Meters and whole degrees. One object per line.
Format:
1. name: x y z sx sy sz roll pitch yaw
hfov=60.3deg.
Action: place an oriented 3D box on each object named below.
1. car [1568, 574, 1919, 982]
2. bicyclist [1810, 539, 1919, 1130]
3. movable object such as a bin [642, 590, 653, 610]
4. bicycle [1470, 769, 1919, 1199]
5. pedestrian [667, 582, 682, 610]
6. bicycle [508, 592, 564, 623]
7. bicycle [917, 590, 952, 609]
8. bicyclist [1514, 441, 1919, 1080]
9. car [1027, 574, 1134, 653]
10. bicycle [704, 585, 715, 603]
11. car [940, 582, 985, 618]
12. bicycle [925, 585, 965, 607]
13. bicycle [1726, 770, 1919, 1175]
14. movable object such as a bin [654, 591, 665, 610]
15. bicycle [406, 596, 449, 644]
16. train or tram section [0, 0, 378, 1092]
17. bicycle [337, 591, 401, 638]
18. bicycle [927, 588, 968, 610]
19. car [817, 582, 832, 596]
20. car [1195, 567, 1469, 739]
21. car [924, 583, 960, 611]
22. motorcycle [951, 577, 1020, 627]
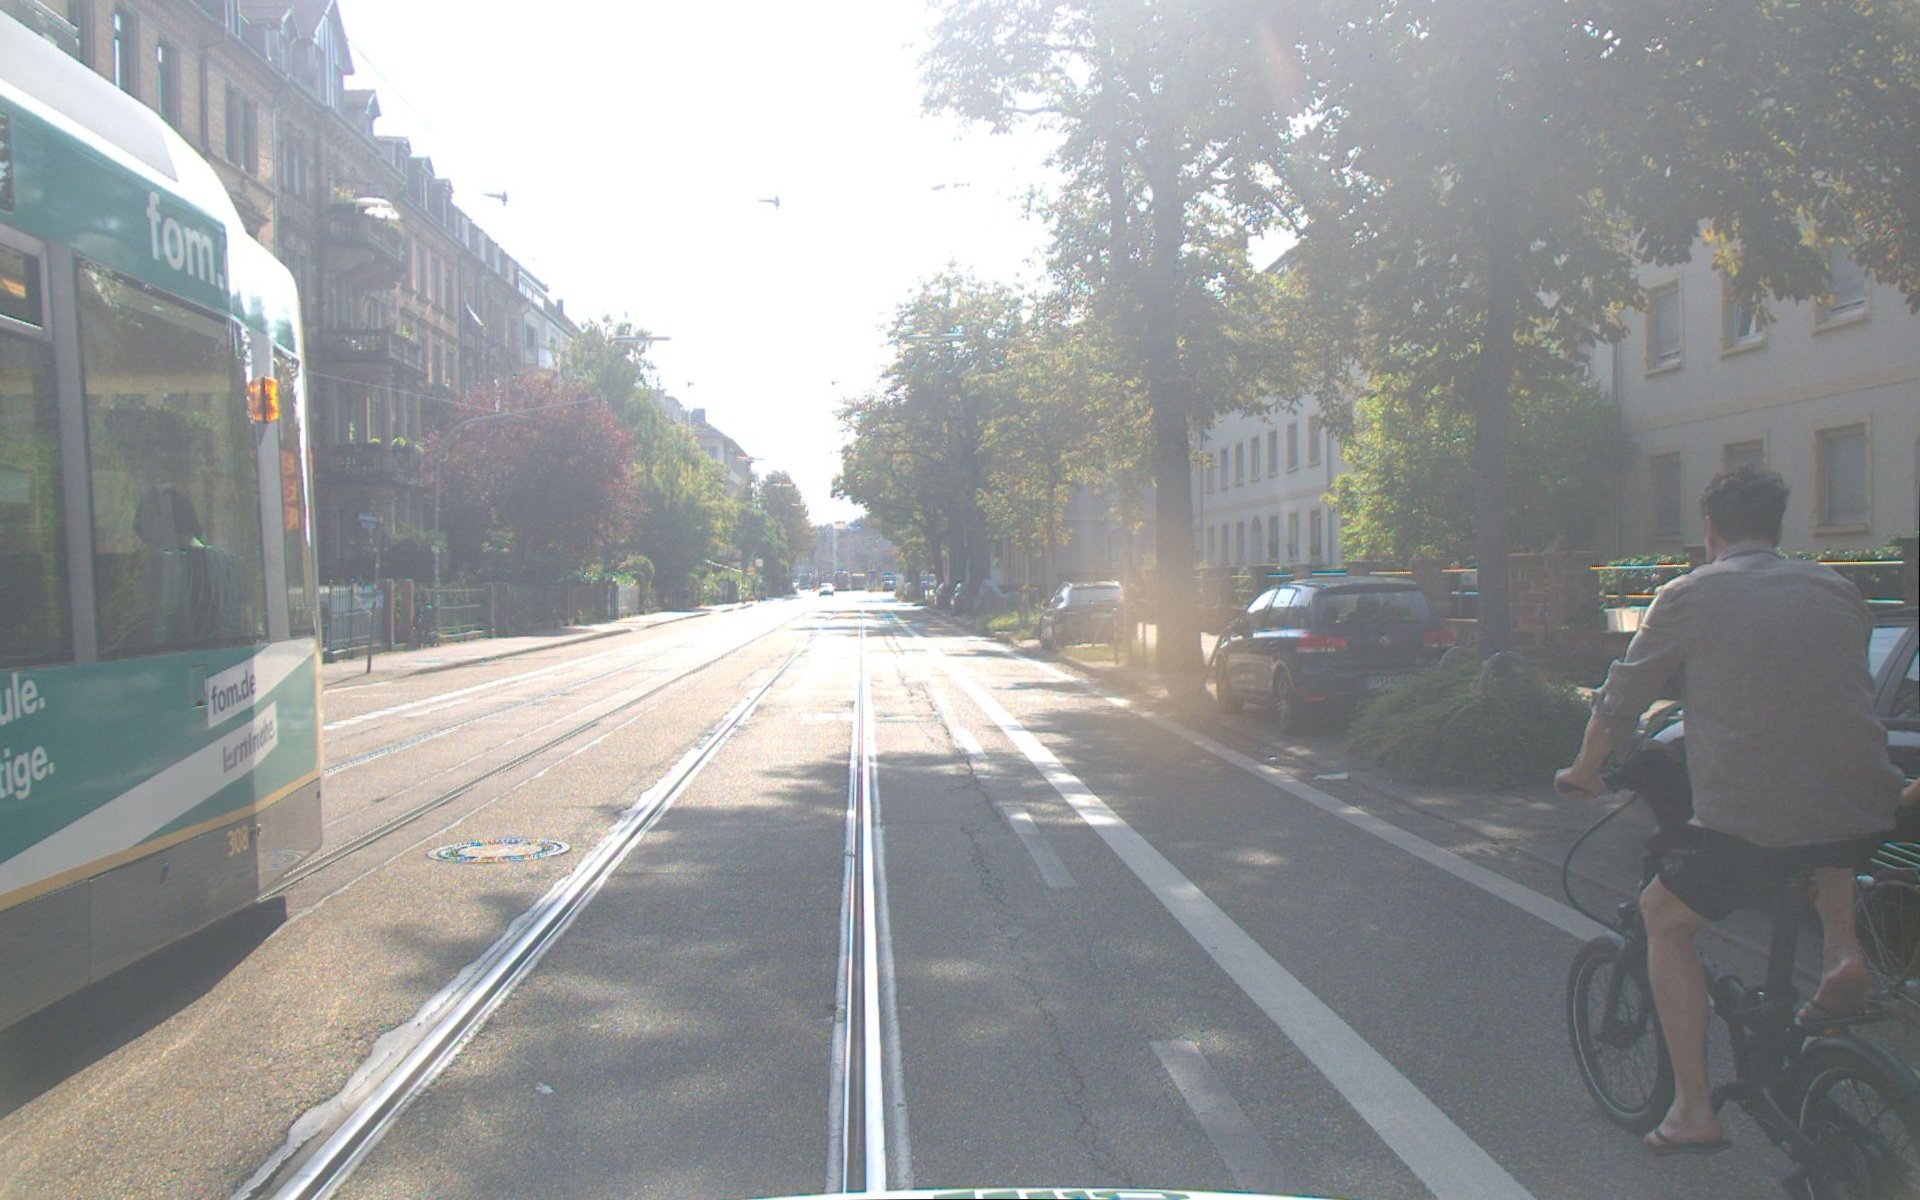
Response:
1. car: 4.355 0.657 6.997 1.656 1.459 4.333 -3 1 -4
2. bicyclist: 2.770 0.602 4.237 0.641 1.499 0.908 2 0 -5
3. movable object such as a bin: -17.856 0.005 94.574 0.579 1.097 0.703 0 0 -10
4. bicycle: 1.889 0.980 4.170 0.614 0.924 1.524 2 0 -5
5. pedestrian: -16.456 -0.236 95.461 0.737 1.619 0.878 0 0 -3
6. bicycle: -15.978 0.274 62.310 1.977 1.123 0.587 0 0 -7
7. bicycle: -1.558 -0.036 101.886 2.066 1.124 0.615 -2 0 -5
8. bicyclist: 1.907 0.363 4.179 0.614 1.425 0.928 2 0 -5
9. car: 2.558 0.266 36.138 1.709 1.588 4.716 -1 0 -3
10. bicycle: -18.344 -0.442 121.323 0.550 1.242 2.113 0 0 -2
11. car: 0.092 -0.011 74.450 1.693 1.531 3.981 -2 0 -4
12. bicycle: -0.788 -0.208 87.776 2.069 1.124 0.561 0 0 -11
13. bicycle: 2.765 1.005 4.254 0.641 0.924 1.773 2 0 -5
14. movable object such as a bin: -17.205 0.020 94.693 0.619 1.097 0.703 0 0 -10
15. bicycle: -12.963 0.477 40.314 0.498 1.127 2.002 0 0 -3
16. train or tram section: -3.914 -0.383 2.955 2.681 3.567 10.767 0 1 -4
17. bicycle: -14.006 0.349 39.206 1.331 1.078 0.416 1 0 -7
18. bicycle: -0.660 -0.043 87.264 2.069 1.124 0.561 0 0 -11
19. car: -16.389 -1.296 200.298 1.692 1.666 3.981 0 0 -4
20. car: 3.763 0.476 17.448 1.656 1.528 4.092 -2 0 -4
21. car: -1.015 -0.169 91.427 1.736 1.499 3.971 -1 0 -3
22. motorcycle: 0.896 0.064 58.690 2.375 1.703 0.909 -1 1 41
